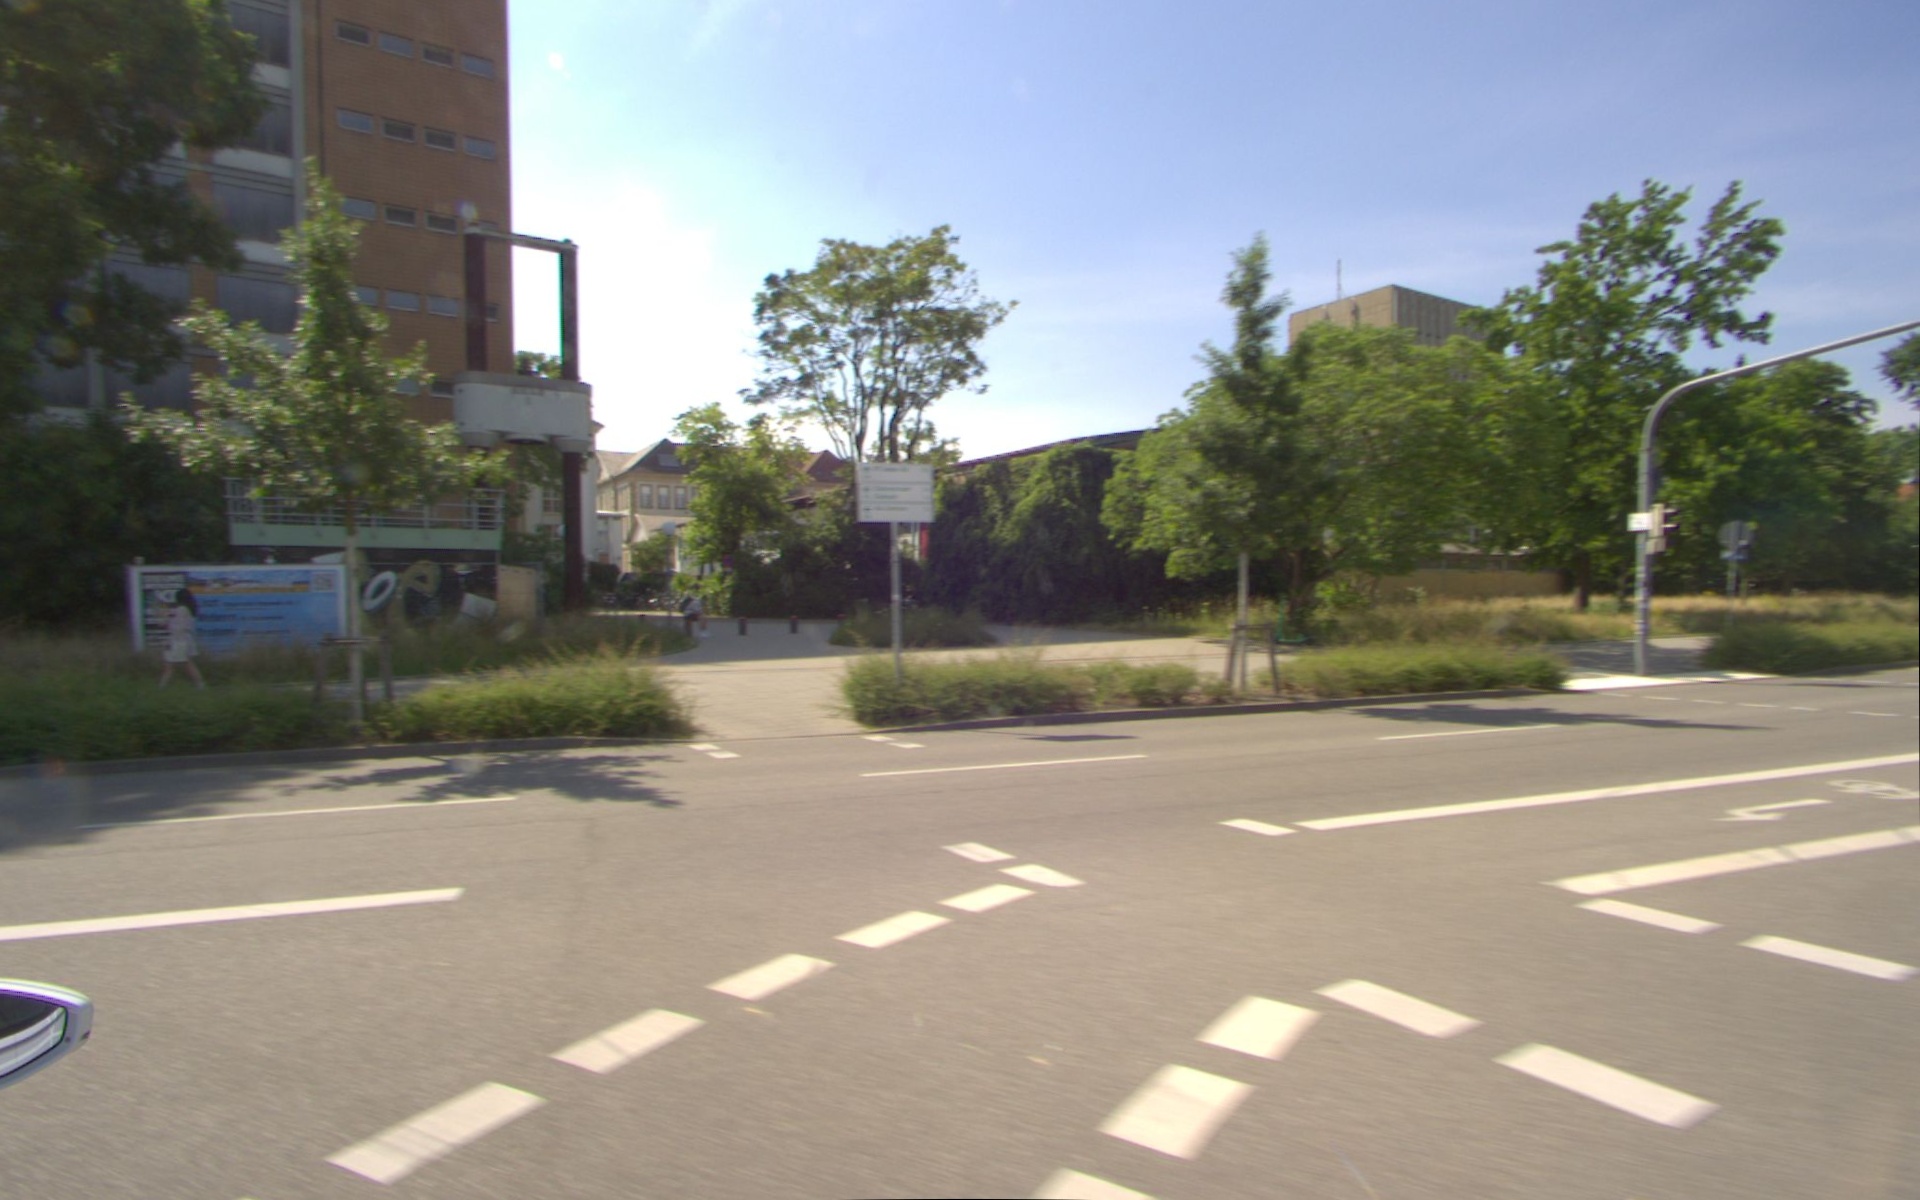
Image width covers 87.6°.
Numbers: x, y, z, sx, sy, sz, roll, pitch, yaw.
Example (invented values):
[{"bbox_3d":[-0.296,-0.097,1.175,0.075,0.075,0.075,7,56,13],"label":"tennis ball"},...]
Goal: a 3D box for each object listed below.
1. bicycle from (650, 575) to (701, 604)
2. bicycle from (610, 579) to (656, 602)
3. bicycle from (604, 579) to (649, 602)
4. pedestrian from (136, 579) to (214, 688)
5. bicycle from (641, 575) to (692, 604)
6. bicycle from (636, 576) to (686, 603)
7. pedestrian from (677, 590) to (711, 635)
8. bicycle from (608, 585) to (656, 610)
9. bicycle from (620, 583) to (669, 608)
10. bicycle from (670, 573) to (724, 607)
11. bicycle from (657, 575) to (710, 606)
[{"bbox_3d":[-16.706,-0.628,58.813,2.792,1.672,0.836,-1,2,-32],"label":"bicycle"},{"bbox_3d":[-21.805,-0.622,66.894,2.792,1.520,0.836,-1,2,-32],"label":"bicycle"},{"bbox_3d":[-22.670,-0.663,68.088,2.792,1.501,0.836,-1,2,-32],"label":"bicycle"},{"bbox_3d":[-11.885,0.485,15.190,0.802,1.600,0.688,-1,1,-29],"label":"pedestrian"},{"bbox_3d":[-17.532,-0.645,59.825,2.792,1.682,0.836,-1,3,-32],"label":"bicycle"},{"bbox_3d":[-18.132,-0.621,60.728,2.792,1.609,0.836,-1,2,-32],"label":"bicycle"},{"bbox_3d":[-7.540,0.347,28.344,0.783,1.229,0.754,2,0,-24],"label":"pedestrian"},{"bbox_3d":[-21.123,-0.160,64.514,2.792,1.580,0.836,-1,2,-32],"label":"bicycle"},{"bbox_3d":[-19.745,-0.271,62.607,2.792,1.528,0.836,-1,2,-32],"label":"bicycle"},{"bbox_3d":[-14.712,-0.560,56.051,2.792,1.861,0.836,-1,2,-32],"label":"bicycle"},{"bbox_3d":[-15.972,-0.577,57.914,2.792,1.768,0.836,-1,2,-32],"label":"bicycle"}]
